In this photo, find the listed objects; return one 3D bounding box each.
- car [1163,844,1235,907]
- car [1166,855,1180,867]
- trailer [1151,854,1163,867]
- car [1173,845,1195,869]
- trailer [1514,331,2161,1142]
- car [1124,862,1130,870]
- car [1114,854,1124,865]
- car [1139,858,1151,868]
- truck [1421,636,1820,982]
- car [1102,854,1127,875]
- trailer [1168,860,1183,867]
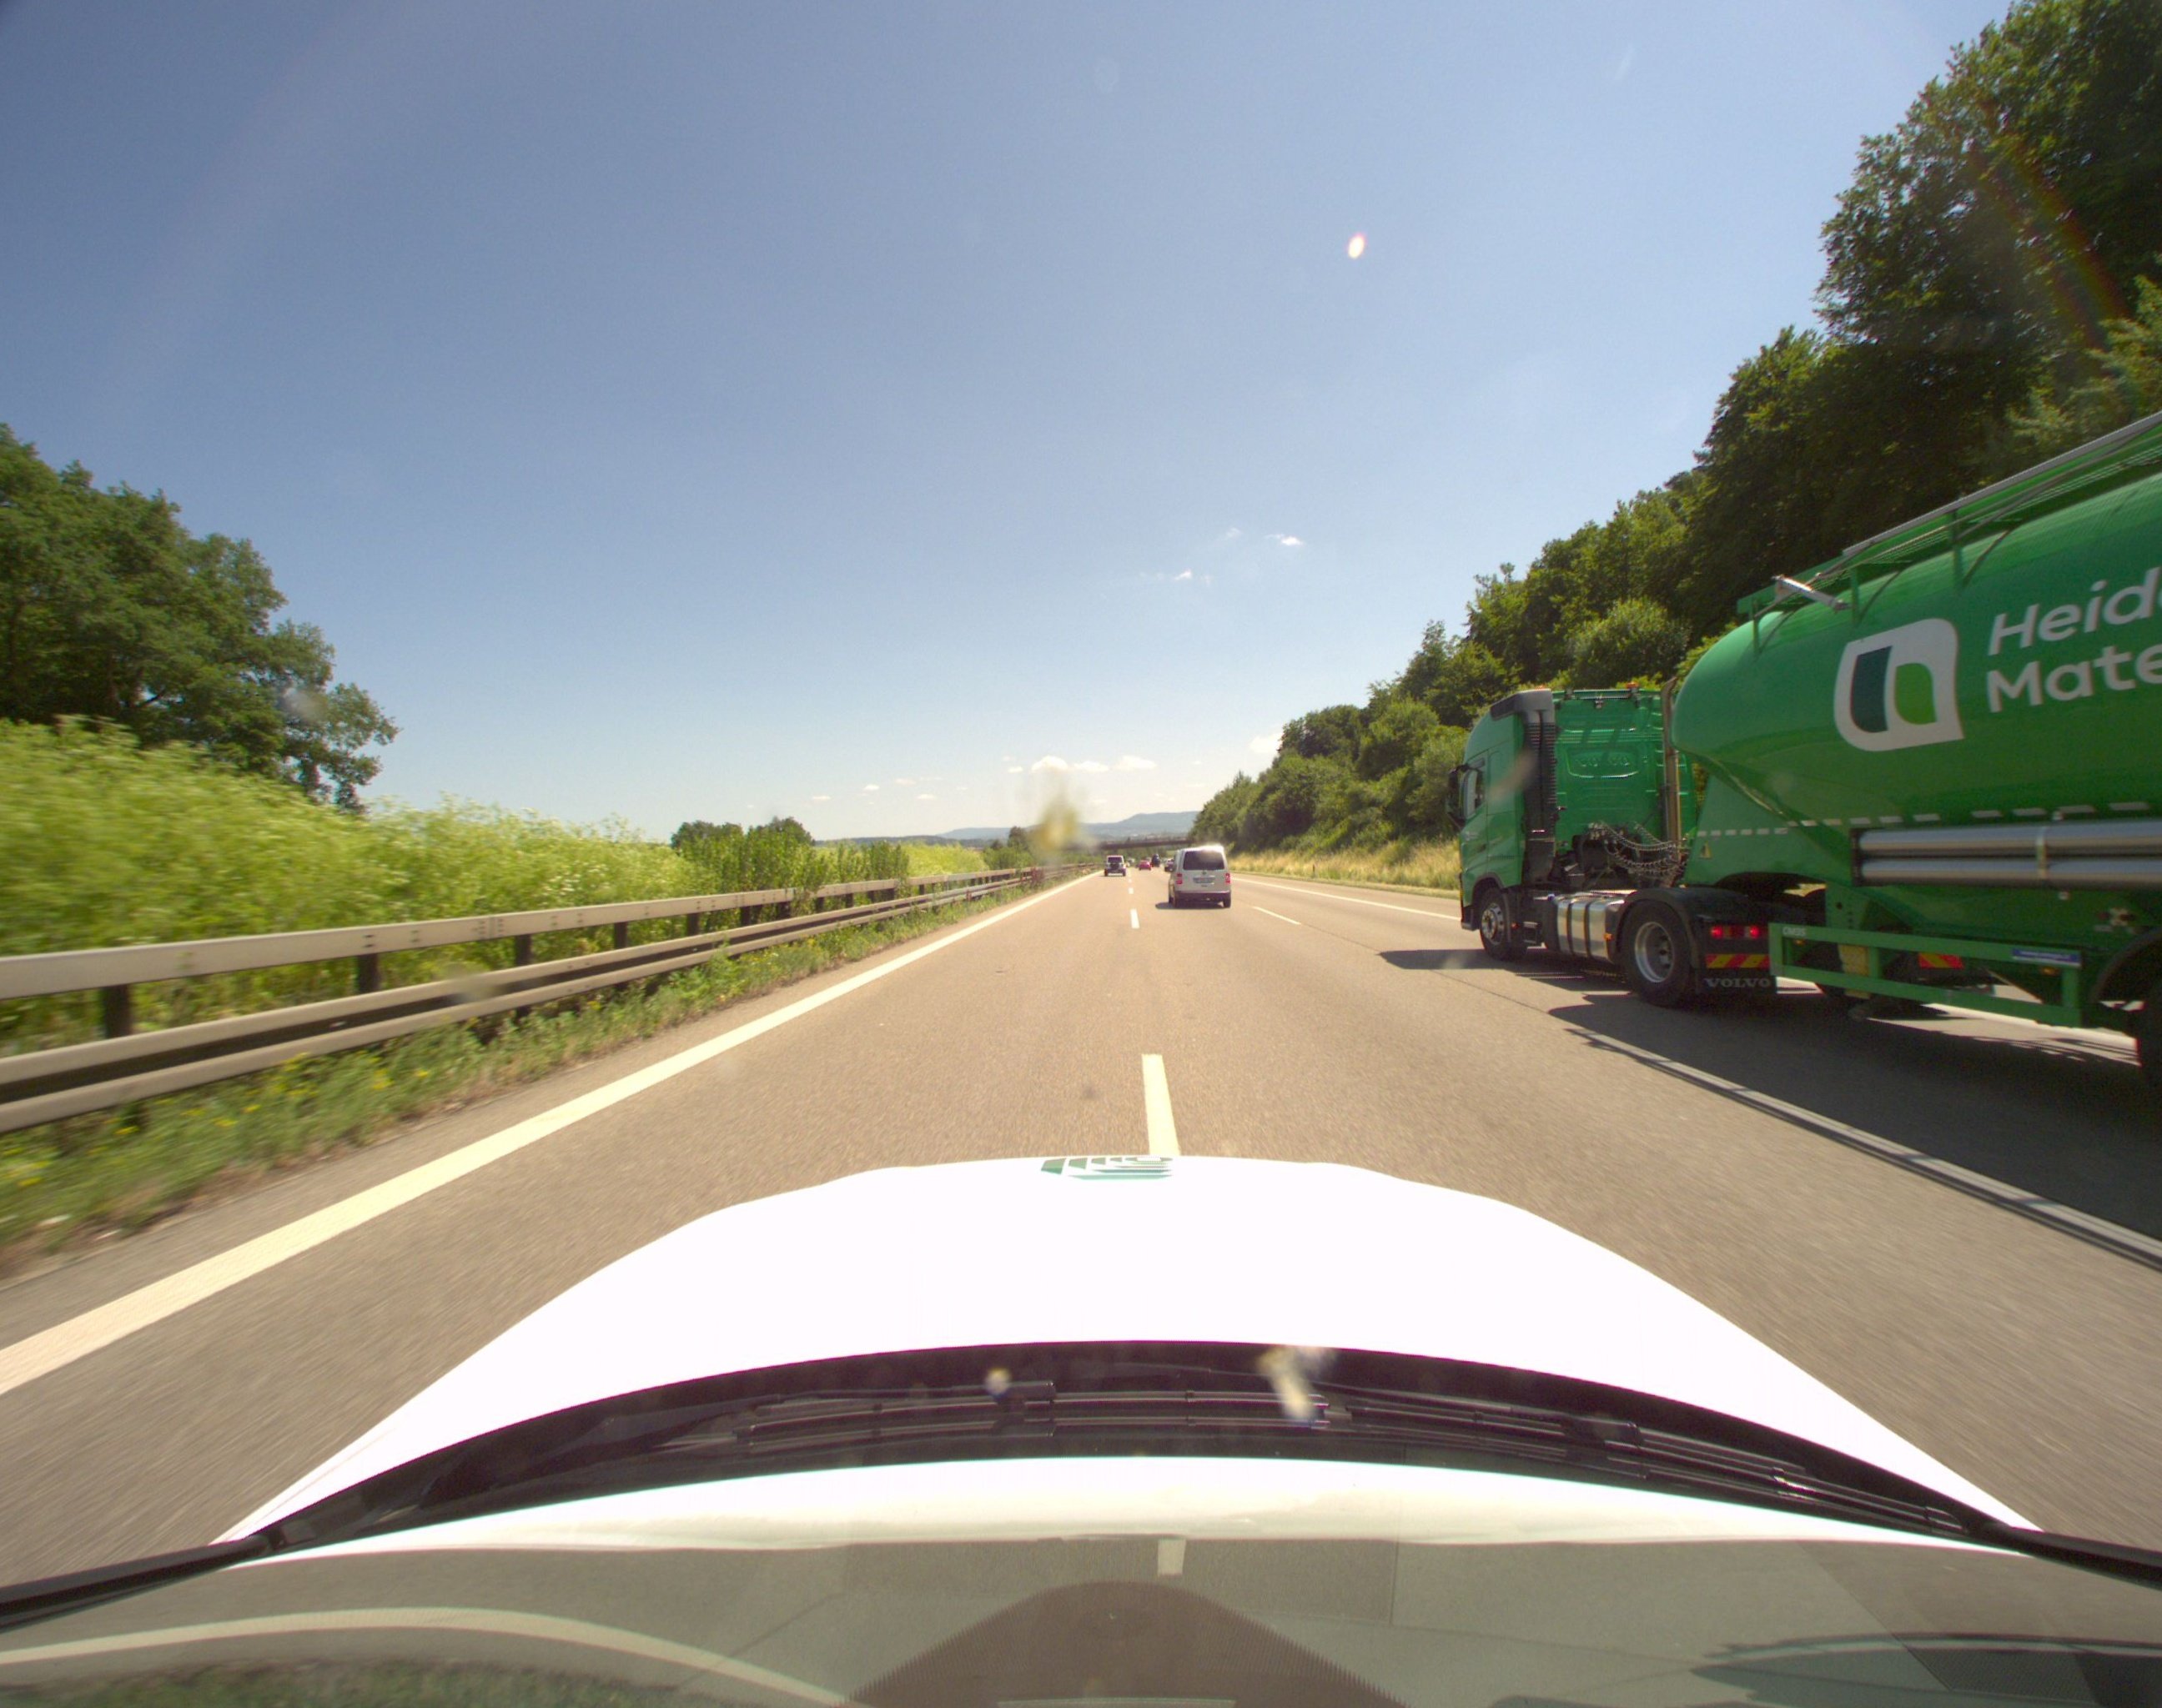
[{"bbox_3d":[3.722,0.623,26.407,1.739,1.829,4.802,0,0,1],"label":"car"},{"bbox_3d":[13.401,1.032,118.675,1.774,1.650,4.405,0,0,2],"label":"car"},{"bbox_3d":[24.021,2.018,257.349,2.839,3.993,15.433,0,0,8],"label":"trailer"},{"bbox_3d":[11.337,0.340,89.999,2.080,2.576,6.629,0,0,4],"label":"car"},{"bbox_3d":[6.754,-0.596,5.537,2.576,4.028,10.479,0,0,3],"label":"trailer"},{"bbox_3d":[12.481,3.222,221.050,1.690,2.013,3.826,0,0,4],"label":"car"},{"bbox_3d":[7.390,1.009,157.631,1.985,2.013,4.003,0,0,3],"label":"car"},{"bbox_3d":[9.534,1.292,122.118,1.679,1.379,3.952,0,0,3],"label":"car"},{"bbox_3d":[7.030,-0.506,11.524,2.500,3.842,4.894,0,0,2],"label":"truck"},{"bbox_3d":[3.132,0.952,74.885,2.074,1.829,4.760,0,0,5],"label":"car"},{"bbox_3d":[13.216,1.265,114.308,1.747,0.908,4.322,0,0,2],"label":"trailer"}]
